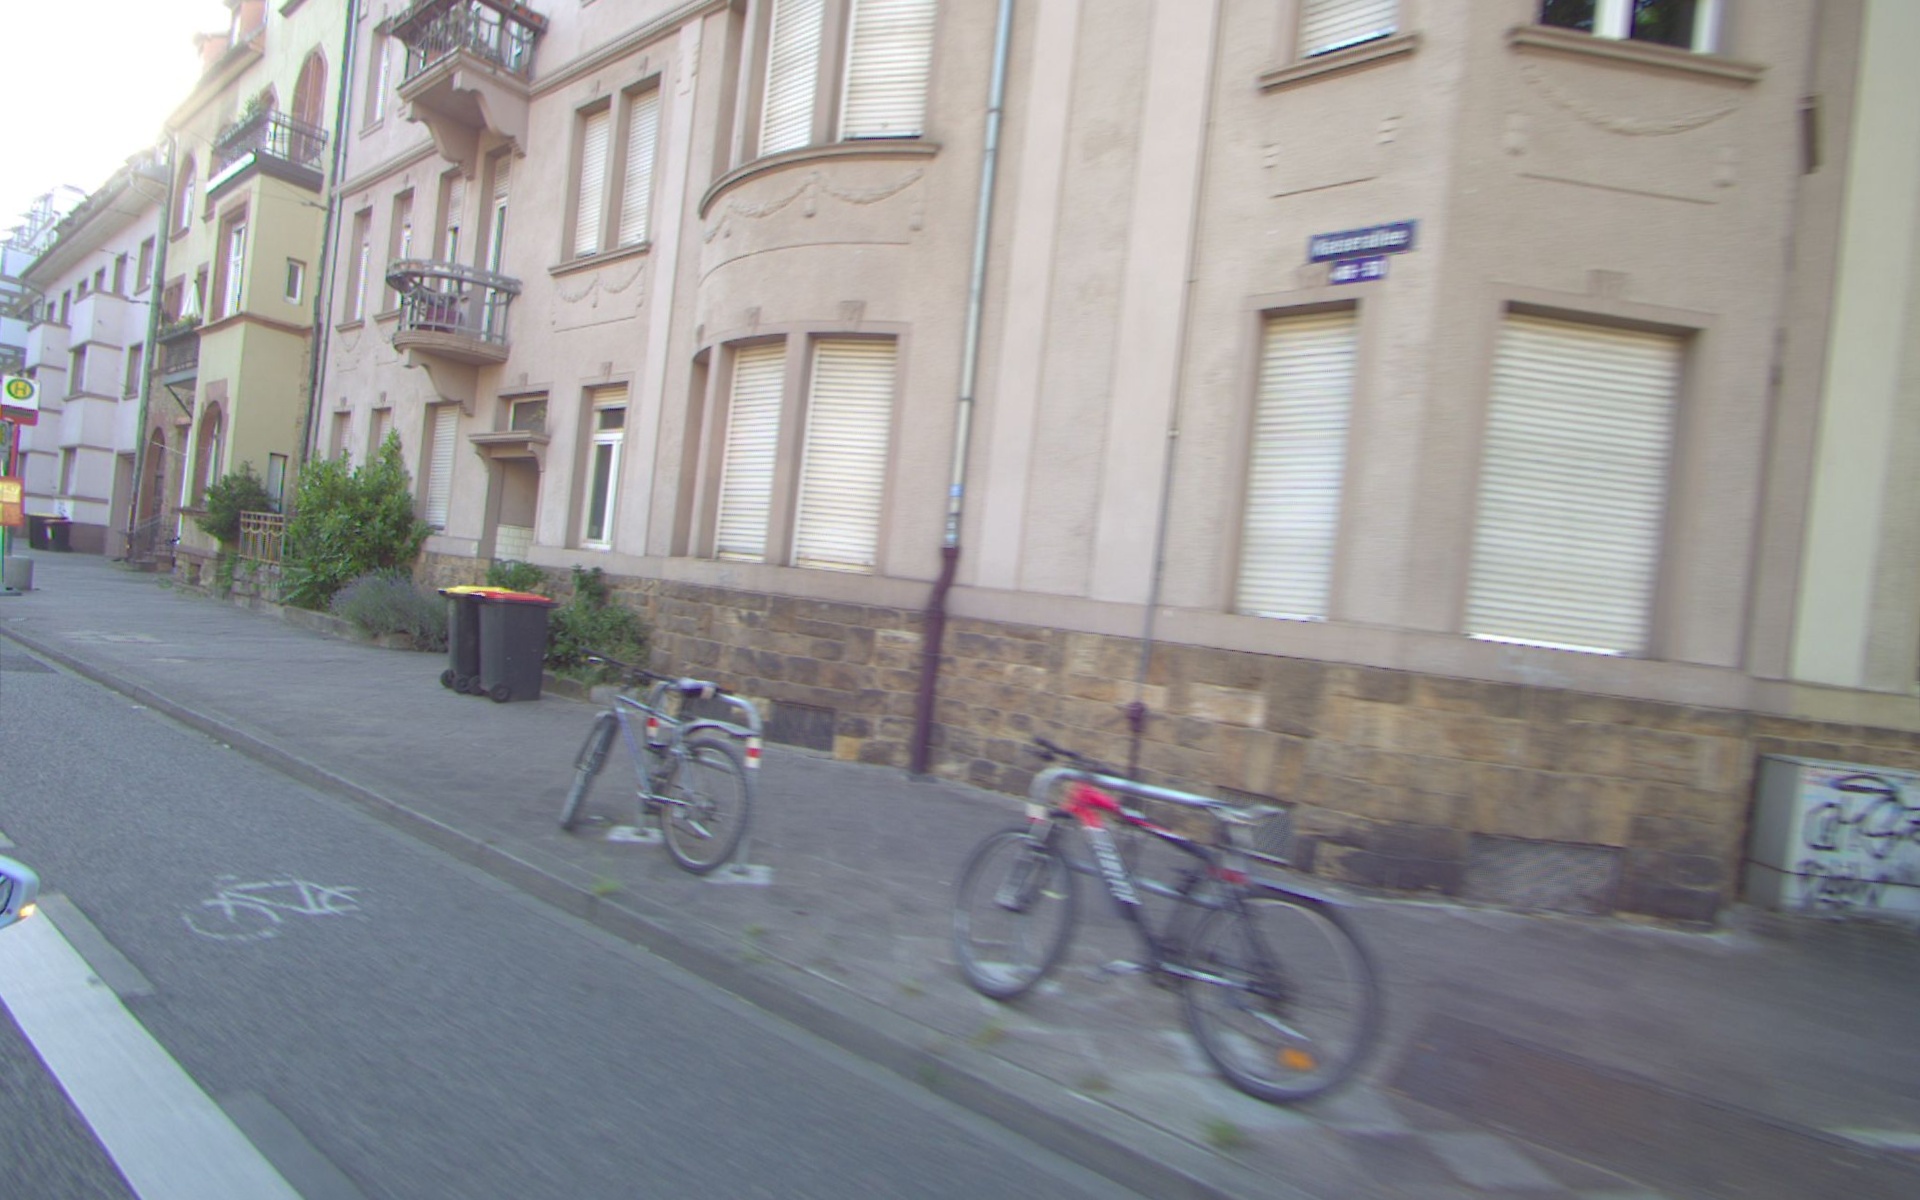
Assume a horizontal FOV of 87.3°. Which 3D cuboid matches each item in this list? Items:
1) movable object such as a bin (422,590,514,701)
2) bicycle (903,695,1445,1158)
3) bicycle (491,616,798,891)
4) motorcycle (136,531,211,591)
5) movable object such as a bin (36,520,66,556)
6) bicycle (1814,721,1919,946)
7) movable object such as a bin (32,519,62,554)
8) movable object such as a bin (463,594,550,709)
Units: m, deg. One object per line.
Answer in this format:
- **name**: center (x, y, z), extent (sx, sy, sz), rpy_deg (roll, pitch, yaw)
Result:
- **movable object such as a bin**: center (-5.107, 0.466, 10.437), extent (0.652, 1.059, 0.652), rpy_deg (6, -1, -38)
- **bicycle**: center (0.651, 1.010, 3.623), extent (1.847, 1.082, 0.369), rpy_deg (6, 0, 40)
- **bicycle**: center (-1.764, 0.741, 5.433), extent (1.902, 1.112, 0.436), rpy_deg (6, 0, 36)
- **motorcycle**: center (-17.452, -0.872, 22.286), extent (2.467, 1.151, 0.589), rpy_deg (5, -1, 36)
- **movable object such as a bin**: center (-27.057, -1.850, 29.943), extent (0.577, 0.981, 0.553), rpy_deg (5, -1, 42)
- **bicycle**: center (6.985, 1.659, 6.874), extent (1.897, 1.412, 0.371), rpy_deg (7, 0, -3)
- **movable object such as a bin**: center (-27.529, -1.908, 30.325), extent (0.577, 0.981, 0.553), rpy_deg (5, -1, 42)
- **movable object such as a bin**: center (-4.530, 0.506, 10.042), extent (0.566, 1.059, 0.652), rpy_deg (6, -1, -38)
